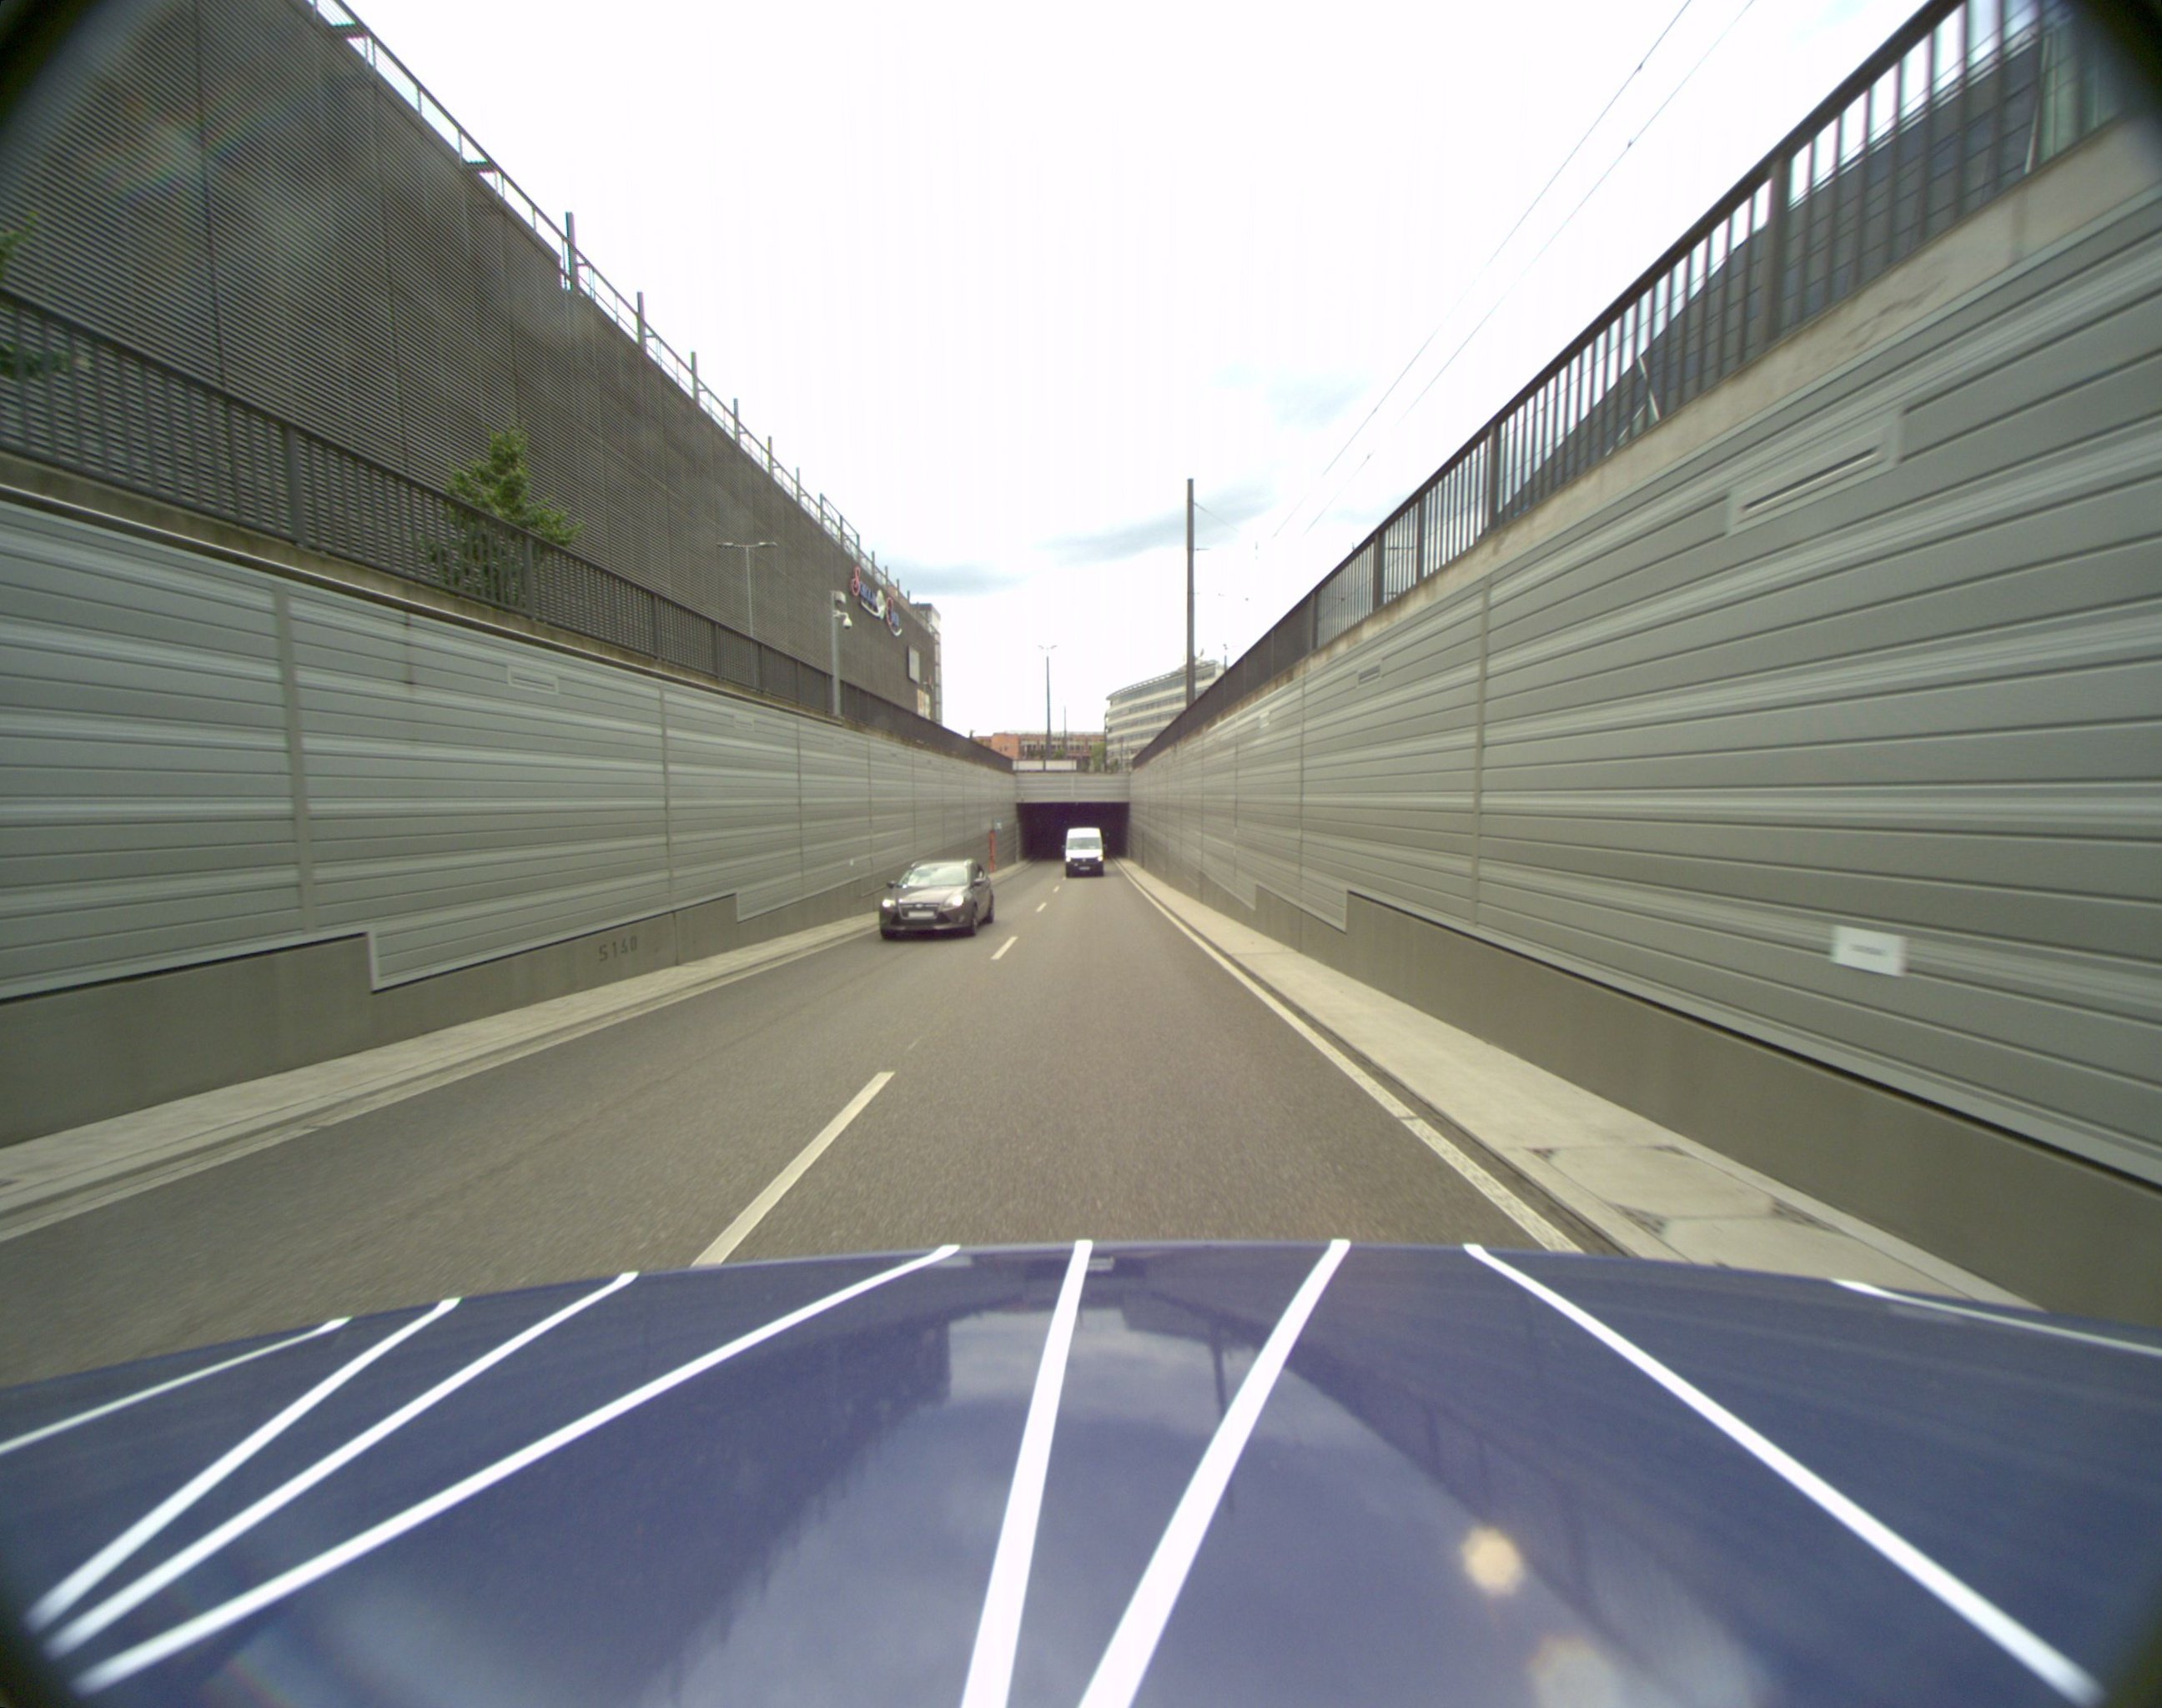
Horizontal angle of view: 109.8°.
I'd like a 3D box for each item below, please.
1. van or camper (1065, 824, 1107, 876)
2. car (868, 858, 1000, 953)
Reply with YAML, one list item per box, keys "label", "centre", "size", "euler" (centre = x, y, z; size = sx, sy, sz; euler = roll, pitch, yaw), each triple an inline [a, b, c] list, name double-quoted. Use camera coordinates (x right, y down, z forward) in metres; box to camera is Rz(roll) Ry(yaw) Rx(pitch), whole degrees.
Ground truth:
- label: "van or camper"
  centre: [0.289, -0.203, 41.017]
  size: [2.043, 2.572, 5.041]
  euler: [-2, 0, 1]
- label: "car"
  centre: [-2.870, 0.942, 15.777]
  size: [1.752, 1.491, 4.267]
  euler: [-2, 2, 2]
